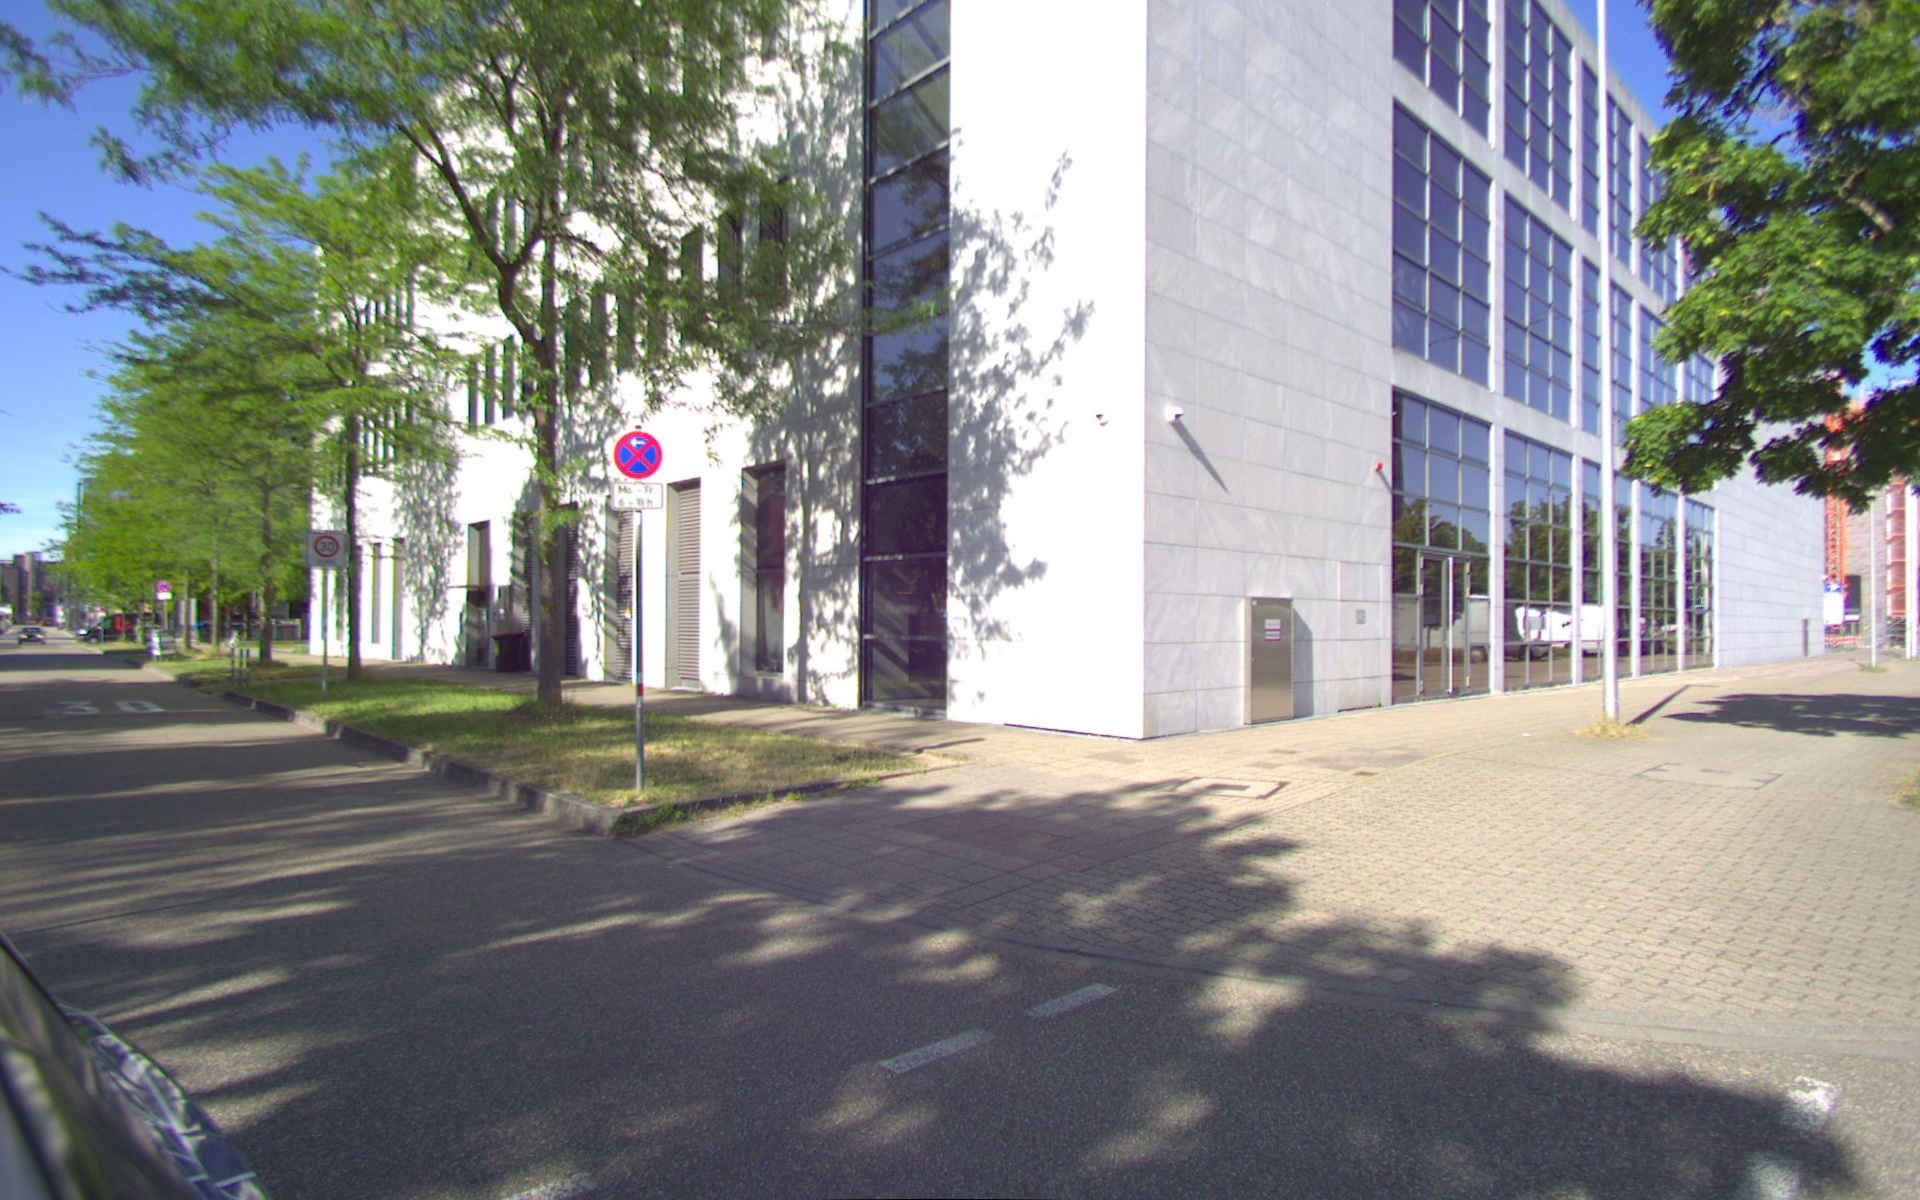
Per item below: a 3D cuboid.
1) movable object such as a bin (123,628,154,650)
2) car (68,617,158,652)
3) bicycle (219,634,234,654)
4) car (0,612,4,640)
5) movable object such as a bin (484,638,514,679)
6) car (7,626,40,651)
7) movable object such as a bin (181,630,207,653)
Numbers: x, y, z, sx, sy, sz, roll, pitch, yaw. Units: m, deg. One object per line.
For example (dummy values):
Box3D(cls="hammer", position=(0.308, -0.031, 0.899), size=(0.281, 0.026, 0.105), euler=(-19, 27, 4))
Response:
Box3D(cls="movable object such as a bin", position=(-60.942, 2.890, 75.091), size=(1.344, 1.580, 1.505), euler=(-2, -1, 37))
Box3D(cls="car", position=(-67.892, 2.727, 81.195), size=(5.411, 2.560, 1.988), euler=(-2, 0, -44))
Box3D(cls="bicycle", position=(-45.364, 2.713, 62.582), size=(0.593, 1.201, 1.730), euler=(0, -1, -42))
Box3D(cls="car", position=(-141.340, 3.740, 147.326), size=(2.870, 3.973, 6.334), euler=(2, -3, -41))
Box3D(cls="movable object such as a bin", position=(-12.201, 1.551, 26.790), size=(0.586, 1.048, 0.544), euler=(0, -1, -45))
Box3D(cls="car", position=(-77.028, 3.134, 83.249), size=(1.875, 2.000, 4.377), euler=(2, -3, -42))
Box3D(cls="movable object such as a bin", position=(-54.735, 2.949, 72.331), size=(1.499, 1.580, 1.349), euler=(0, -1, -38))
